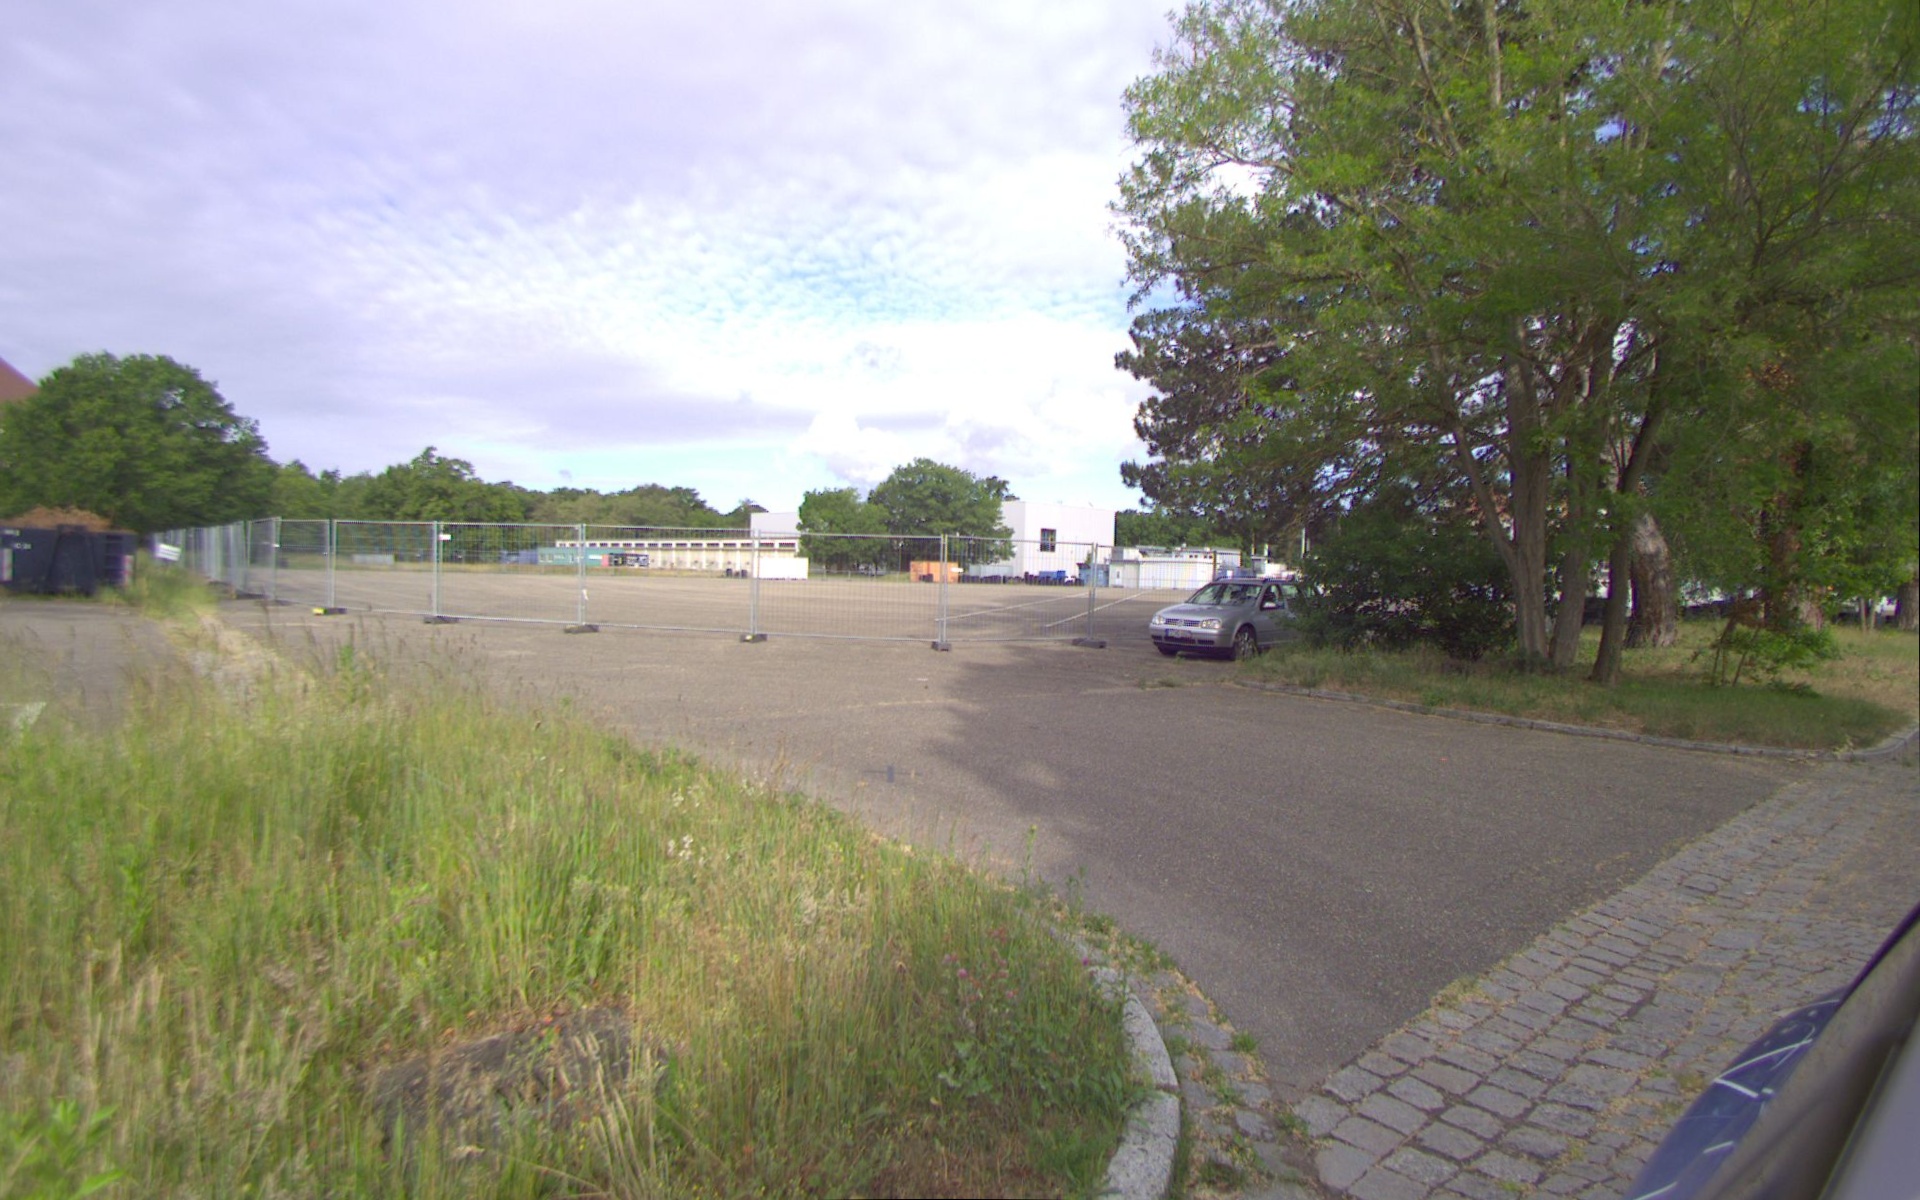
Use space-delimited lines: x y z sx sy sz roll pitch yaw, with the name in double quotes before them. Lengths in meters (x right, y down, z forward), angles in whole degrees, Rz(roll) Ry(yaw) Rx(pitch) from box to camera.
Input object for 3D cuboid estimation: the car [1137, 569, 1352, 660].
"car" 5.337 0.218 18.714 4.251 1.466 1.759 0 2 -41
